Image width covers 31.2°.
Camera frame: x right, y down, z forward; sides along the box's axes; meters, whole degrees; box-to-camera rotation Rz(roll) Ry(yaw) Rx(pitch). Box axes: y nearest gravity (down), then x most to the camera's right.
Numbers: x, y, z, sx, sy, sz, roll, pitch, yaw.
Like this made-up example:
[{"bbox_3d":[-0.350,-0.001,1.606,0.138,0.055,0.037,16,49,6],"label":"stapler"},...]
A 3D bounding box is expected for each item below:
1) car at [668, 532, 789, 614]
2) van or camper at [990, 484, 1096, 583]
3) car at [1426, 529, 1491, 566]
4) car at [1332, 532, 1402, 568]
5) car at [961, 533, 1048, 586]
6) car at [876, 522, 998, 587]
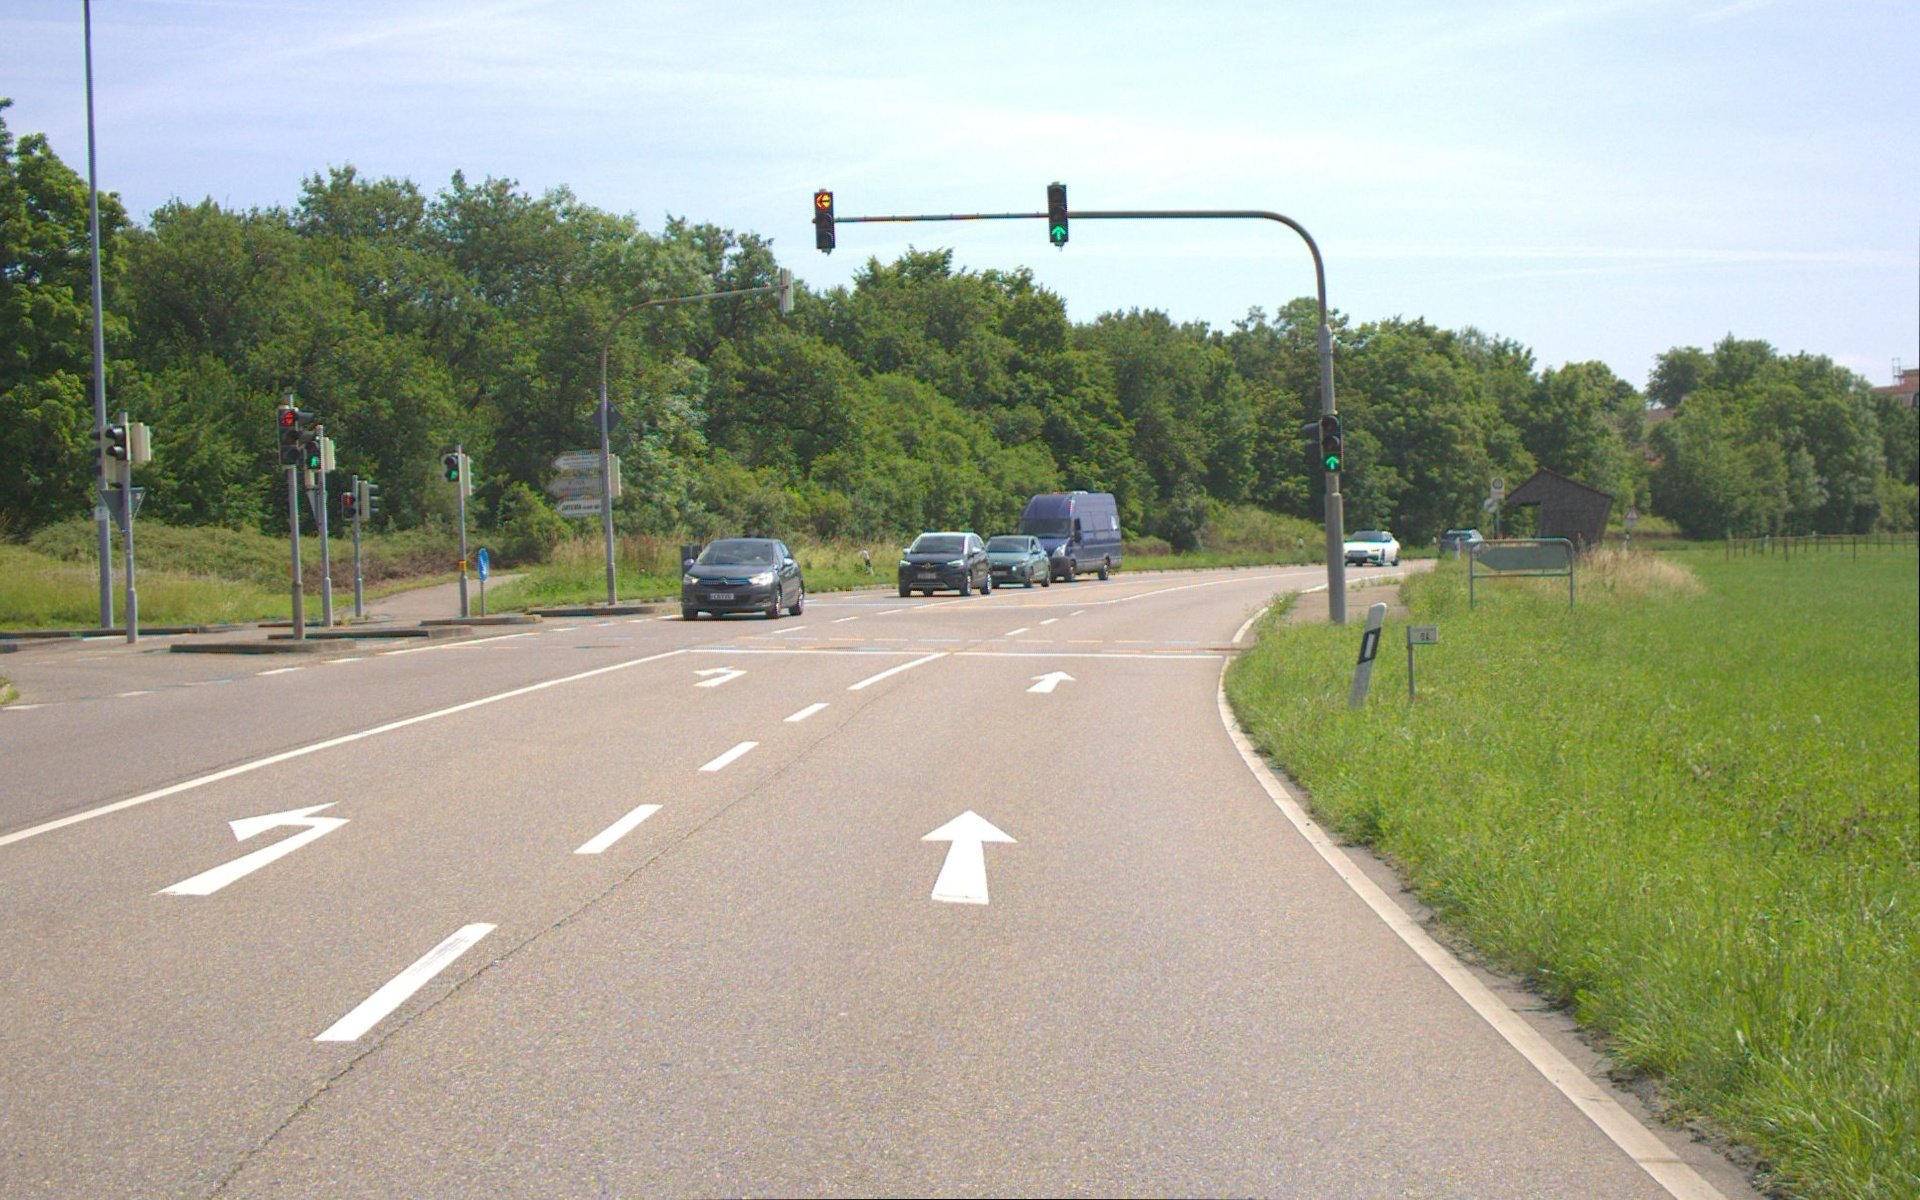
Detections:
[{"bbox_3d":[-4.251,-0.520,63.670,1.791,1.469,4.310,0,1,2],"label":"car"},{"bbox_3d":[2.638,-2.116,107.340,2.240,2.904,7.245,0,2,10],"label":"van or camper"},{"bbox_3d":[21.389,-2.254,147.505,1.995,1.568,3.996,0,1,20],"label":"car"},{"bbox_3d":[17.775,-2.203,149.952,1.939,1.543,4.622,0,1,21],"label":"car"},{"bbox_3d":[1.281,-1.159,97.315,1.708,1.478,3.830,0,1,13],"label":"car"},{"bbox_3d":[-0.538,-1.117,84.710,1.975,1.557,4.186,0,1,15],"label":"car"}]
